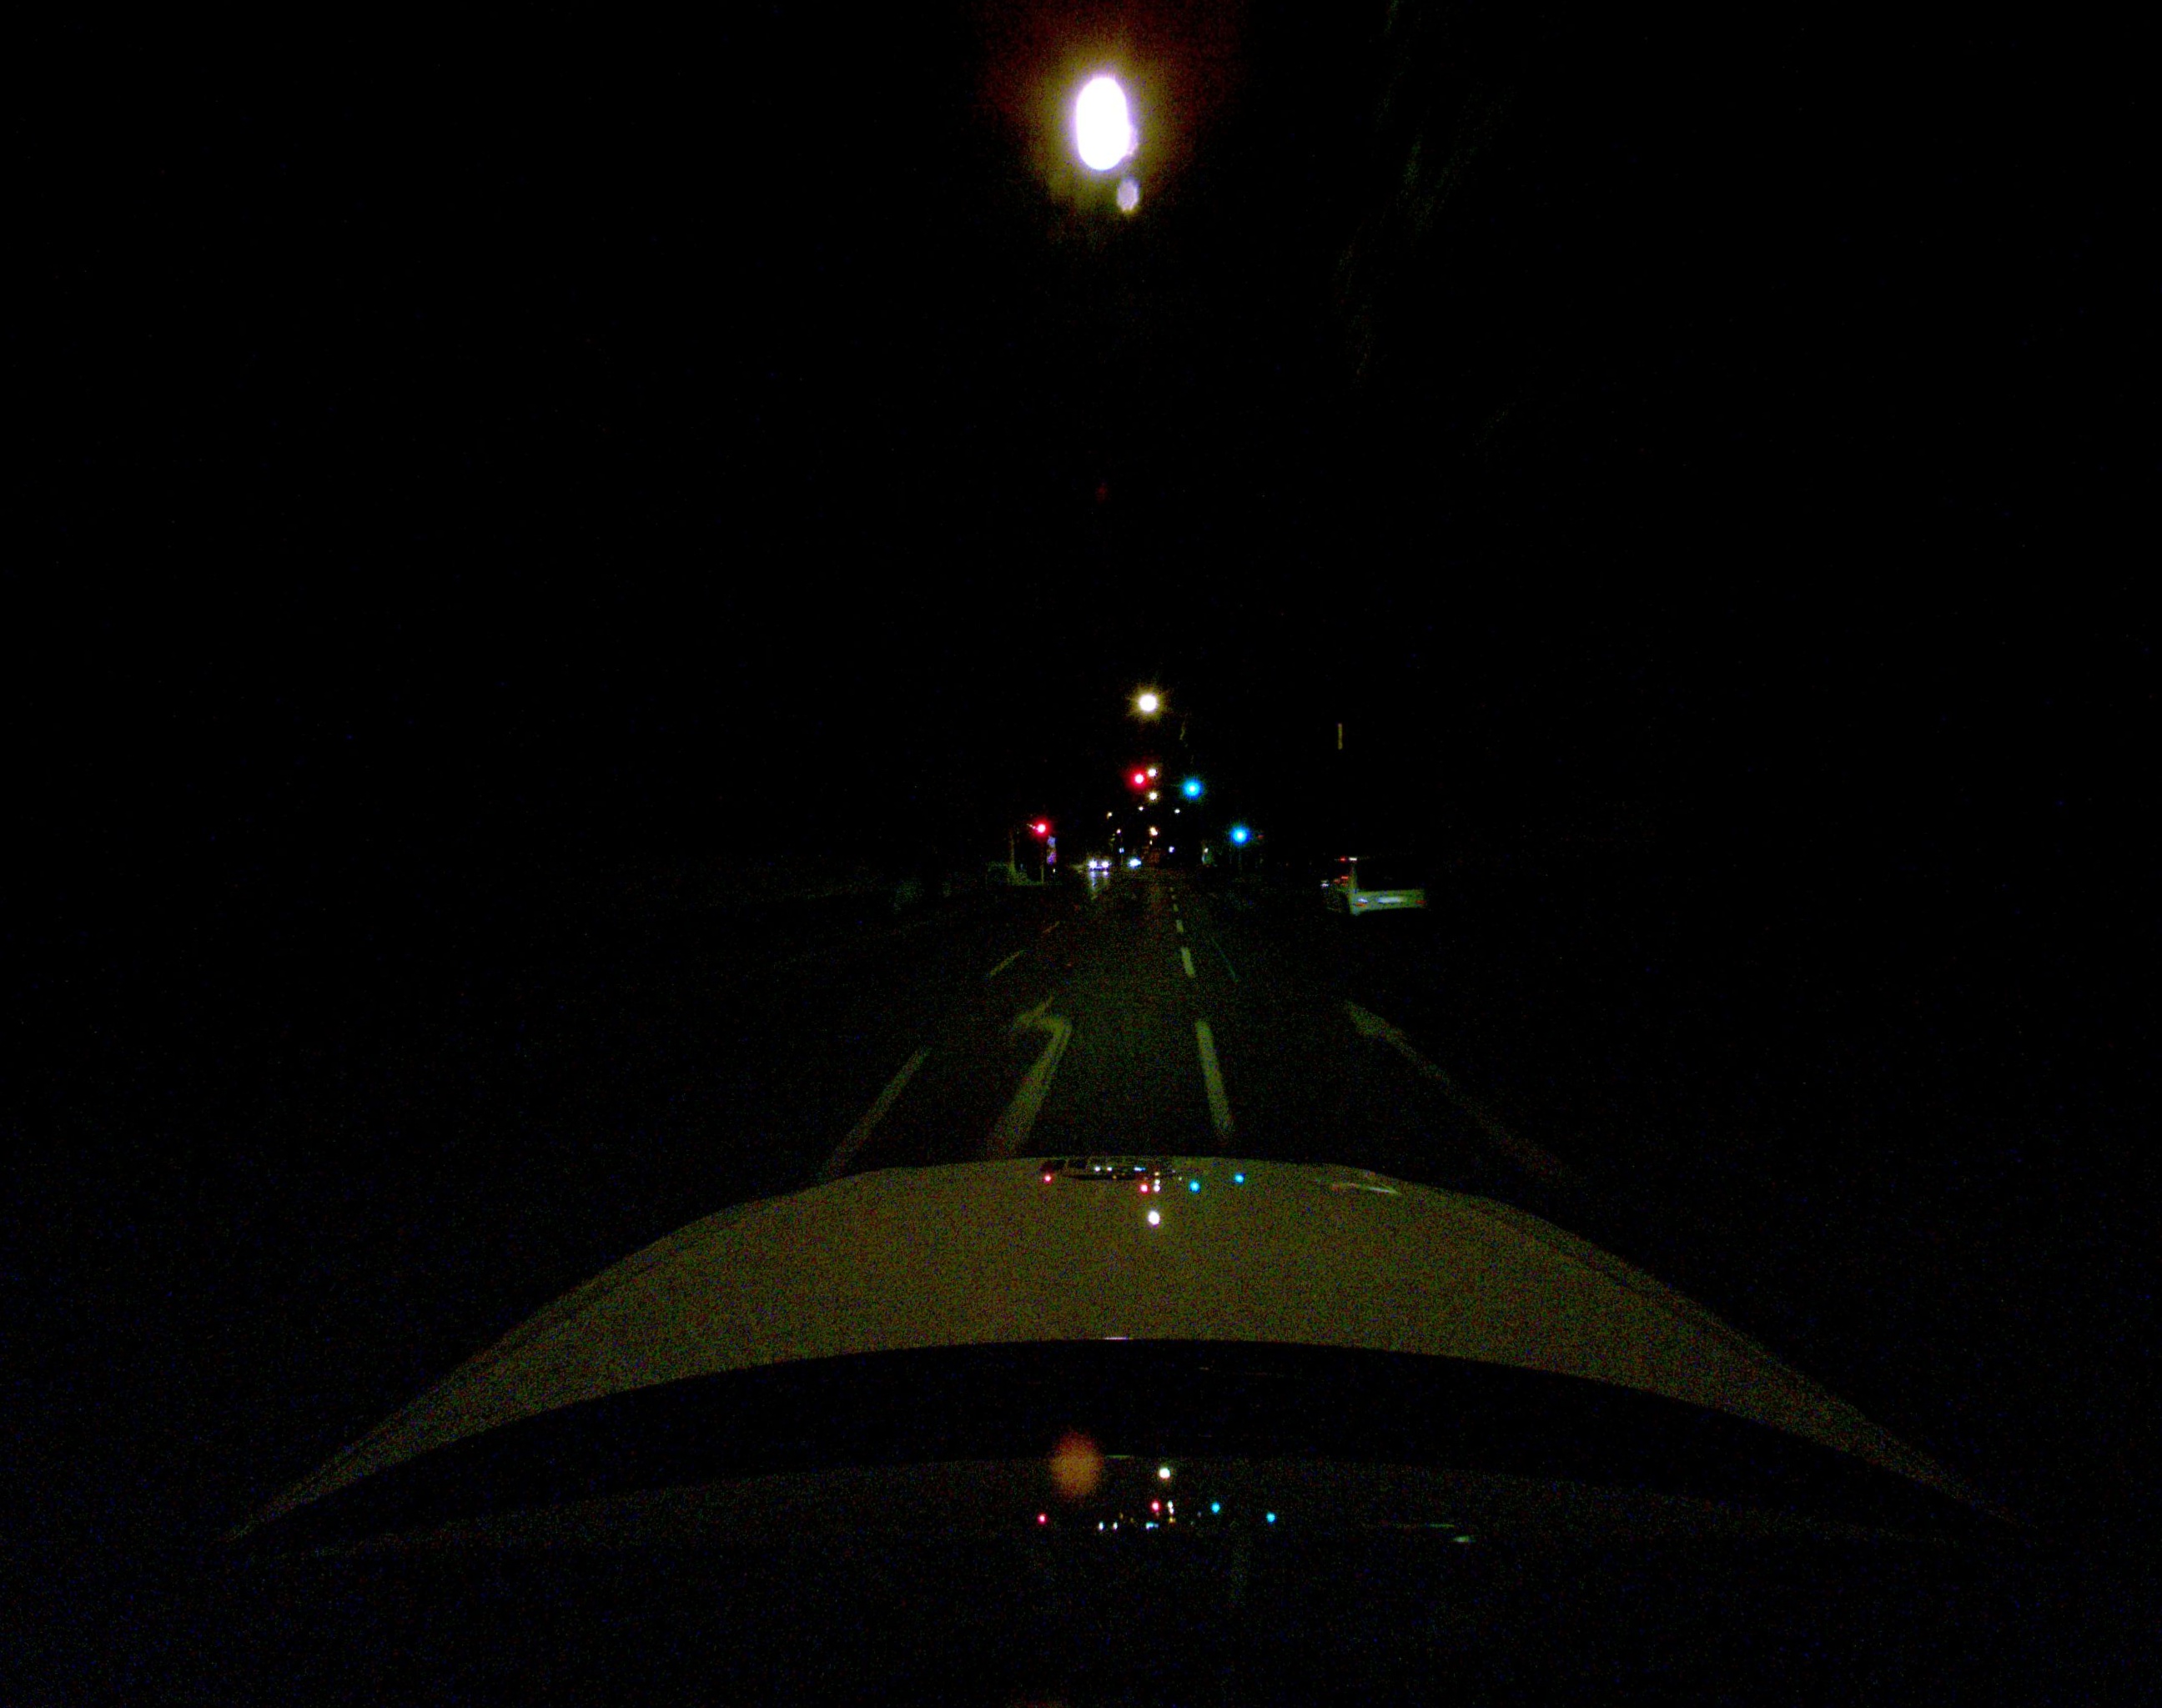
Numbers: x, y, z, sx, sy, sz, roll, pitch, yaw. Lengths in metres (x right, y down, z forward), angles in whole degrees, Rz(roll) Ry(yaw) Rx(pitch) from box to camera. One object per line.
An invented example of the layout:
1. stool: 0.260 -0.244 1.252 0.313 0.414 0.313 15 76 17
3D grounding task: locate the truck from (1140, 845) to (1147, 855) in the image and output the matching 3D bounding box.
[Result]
1. truck: 18.903 -1.203 244.979 2.077 2.848 5.837 -1 0 4

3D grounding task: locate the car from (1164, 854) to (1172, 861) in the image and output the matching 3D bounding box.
1. car: 19.015 0.698 178.320 1.626 1.452 3.490 -1 0 5

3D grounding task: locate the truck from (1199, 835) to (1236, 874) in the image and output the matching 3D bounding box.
1. truck: 11.578 0.059 69.399 2.735 3.110 6.269 -1 0 6

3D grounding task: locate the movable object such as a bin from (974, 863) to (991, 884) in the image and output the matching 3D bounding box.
1. movable object such as a bin: -5.057 1.015 41.806 0.633 1.049 0.658 -1 -1 23

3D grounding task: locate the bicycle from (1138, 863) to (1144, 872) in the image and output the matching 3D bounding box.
1. bicycle: 7.443 1.657 100.484 0.693 1.149 1.953 -1 -1 5

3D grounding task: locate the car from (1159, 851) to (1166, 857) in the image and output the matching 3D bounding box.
1. car: 19.504 0.060 194.296 1.626 1.452 3.490 -1 0 5

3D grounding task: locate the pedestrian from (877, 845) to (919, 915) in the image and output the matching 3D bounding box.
1. pedestrian: -4.695 0.658 20.929 0.739 1.745 1.104 -1 -1 4

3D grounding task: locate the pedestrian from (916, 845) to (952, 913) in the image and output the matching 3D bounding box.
1. pedestrian: -3.857 0.648 21.416 0.672 1.745 1.030 -1 -1 4

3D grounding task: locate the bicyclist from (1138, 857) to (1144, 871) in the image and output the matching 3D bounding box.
1. bicyclist: 7.428 1.218 100.386 0.687 1.637 0.897 -1 -1 5

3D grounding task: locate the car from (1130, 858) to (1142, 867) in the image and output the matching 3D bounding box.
1. car: 9.144 1.392 135.256 1.907 1.388 4.589 -1 0 5

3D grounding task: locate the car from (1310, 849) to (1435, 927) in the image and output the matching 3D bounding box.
1. car: 6.321 0.682 18.062 1.660 1.484 3.608 -3 0 4

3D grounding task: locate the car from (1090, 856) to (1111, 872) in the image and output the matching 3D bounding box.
1. car: 2.011 0.982 82.472 1.848 1.534 4.033 -1 0 5
